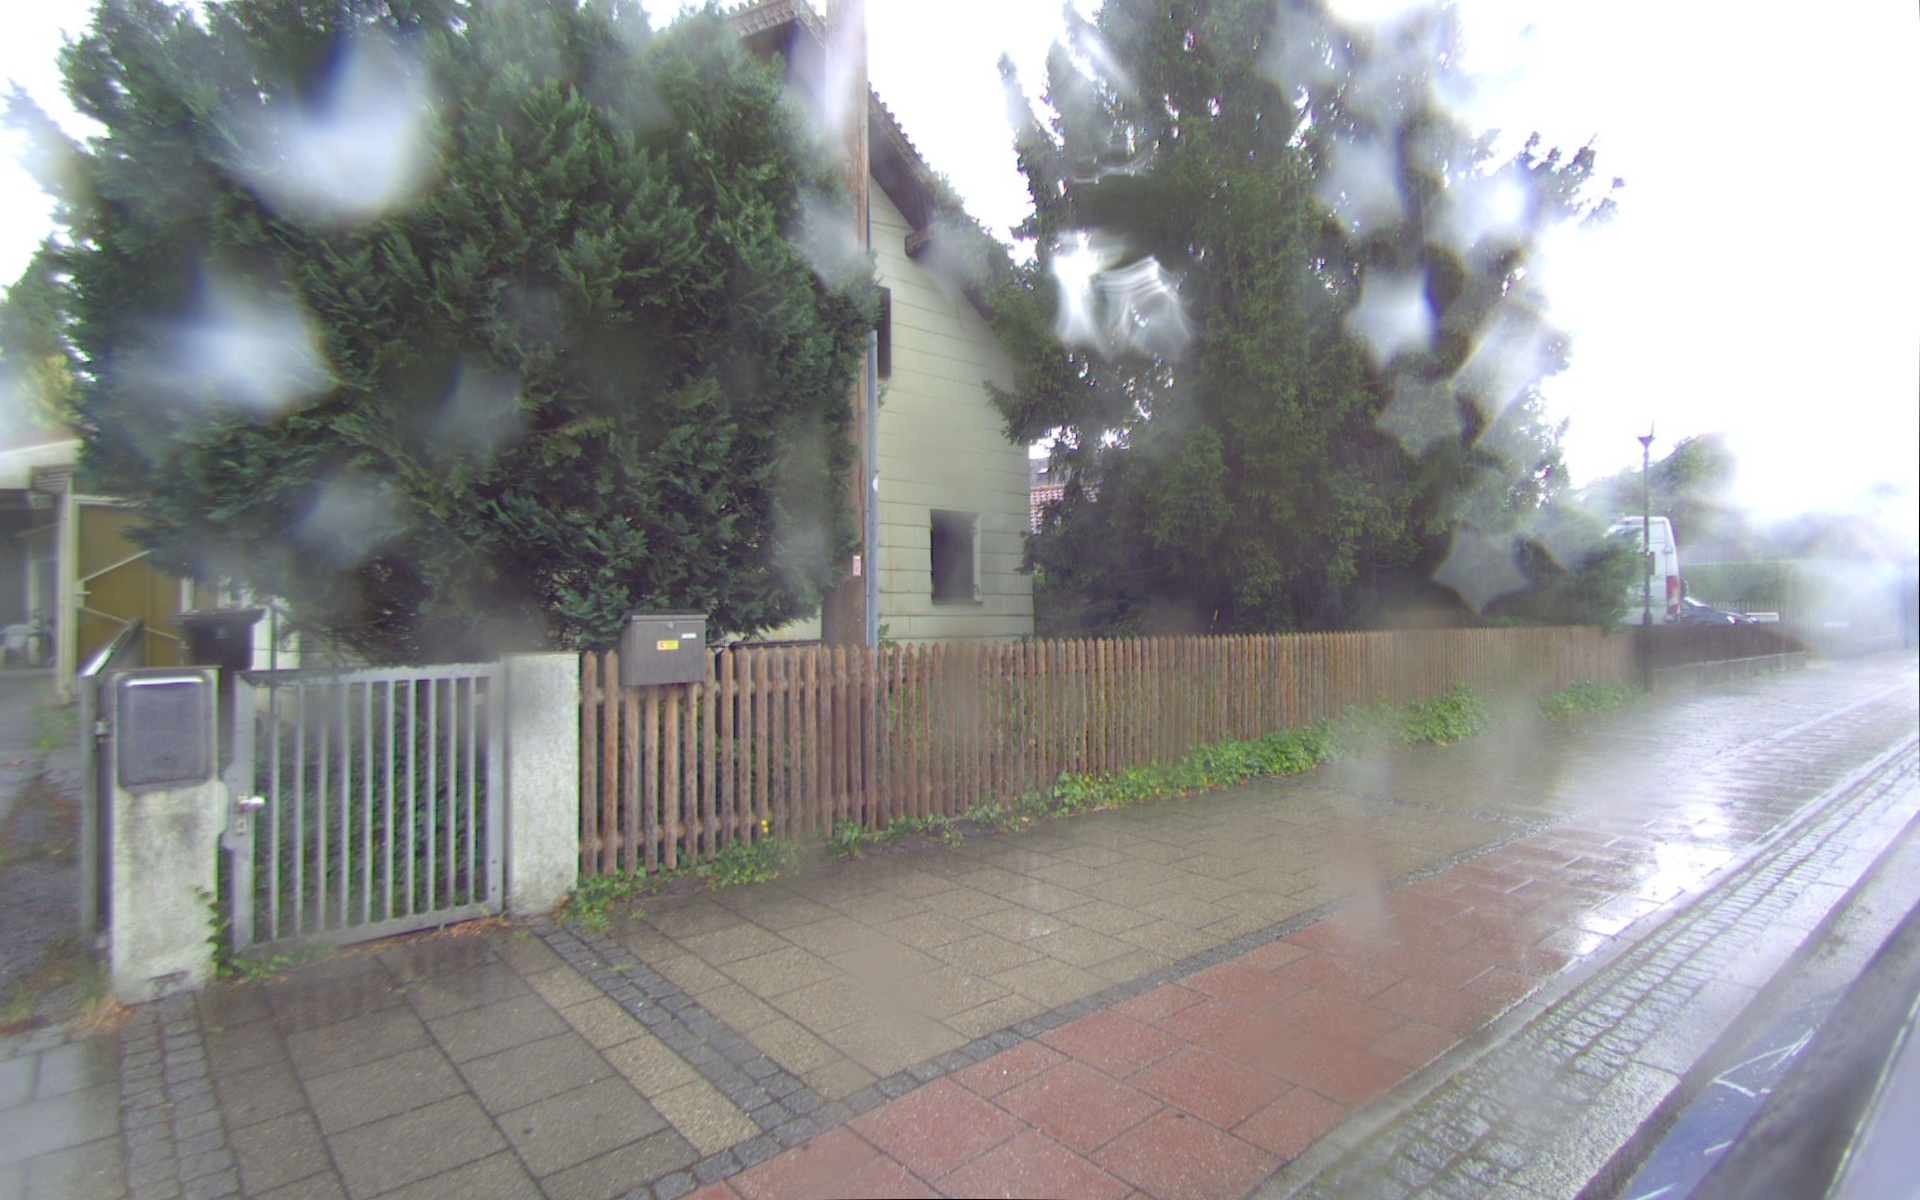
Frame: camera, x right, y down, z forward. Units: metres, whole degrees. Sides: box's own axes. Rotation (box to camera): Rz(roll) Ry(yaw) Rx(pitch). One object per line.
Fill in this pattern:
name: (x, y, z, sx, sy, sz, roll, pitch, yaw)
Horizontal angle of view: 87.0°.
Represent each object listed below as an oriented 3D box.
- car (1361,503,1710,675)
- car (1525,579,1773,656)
car: (10.497, -0.288, 18.760, 5.298, 2.761, 1.971, 3, 2, 41)
car: (15.537, 0.318, 22.966, 4.428, 1.438, 1.803, 3, 3, 42)
